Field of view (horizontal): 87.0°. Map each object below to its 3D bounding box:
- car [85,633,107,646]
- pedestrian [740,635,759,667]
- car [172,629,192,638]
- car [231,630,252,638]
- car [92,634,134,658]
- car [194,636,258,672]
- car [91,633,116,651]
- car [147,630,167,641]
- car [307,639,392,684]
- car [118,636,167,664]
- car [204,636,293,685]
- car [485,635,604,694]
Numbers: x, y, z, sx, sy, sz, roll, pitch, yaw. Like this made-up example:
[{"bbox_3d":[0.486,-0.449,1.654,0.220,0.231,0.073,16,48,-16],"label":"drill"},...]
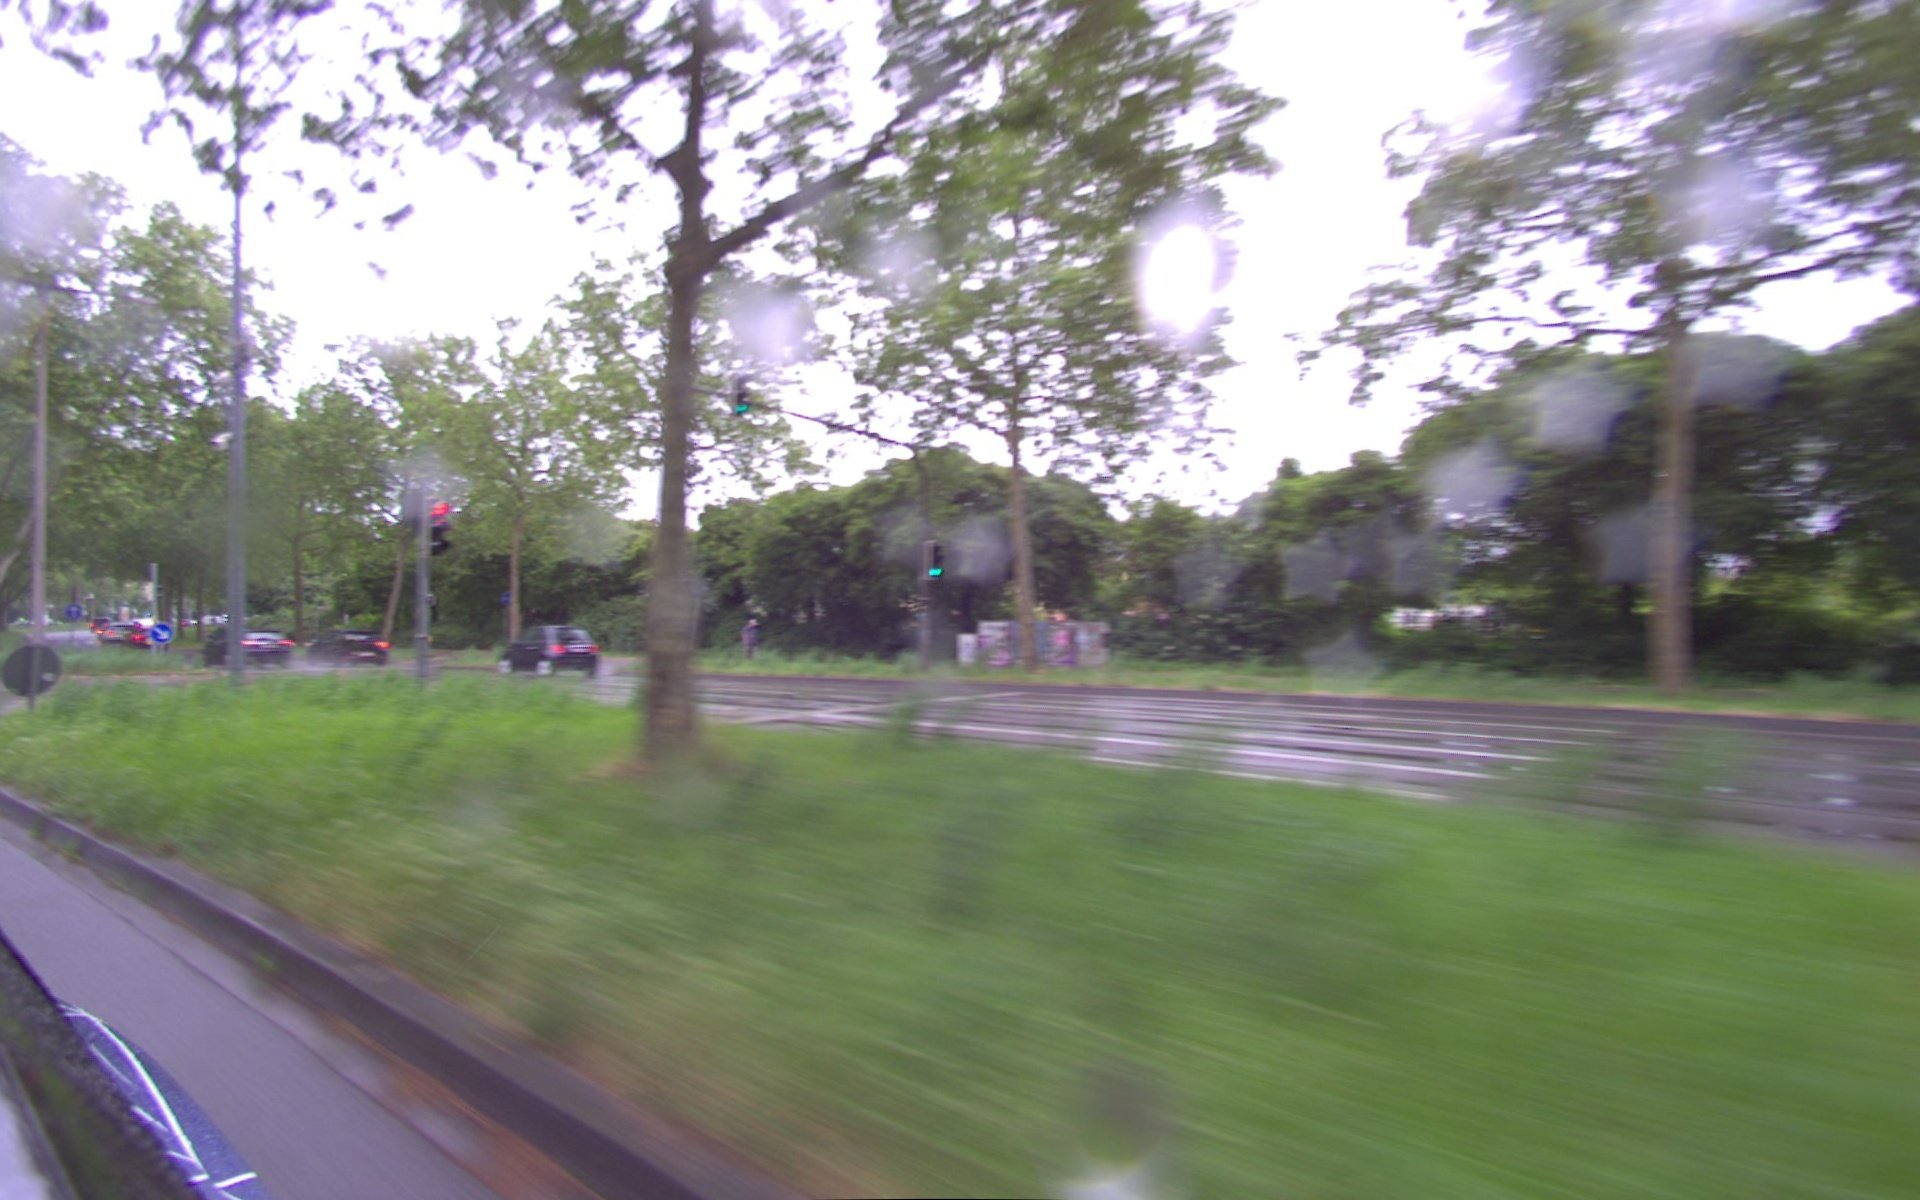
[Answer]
[{"bbox_3d":[-107.473,4.910,125.879,1.756,1.567,4.009,0,-1,-37],"label":"car"},{"bbox_3d":[-7.257,1.750,34.830,0.469,1.048,0.442,1,-2,-44],"label":"pedestrian"},{"bbox_3d":[-133.458,5.752,173.553,1.754,1.567,4.013,0,-1,-24],"label":"car"},{"bbox_3d":[-138.276,6.518,194.893,1.756,1.567,4.008,0,-1,-10],"label":"car"},{"bbox_3d":[-59.635,3.221,71.252,4.000,1.567,1.760,-1,-1,43],"label":"car"},{"bbox_3d":[-35.178,2.564,48.490,4.000,1.567,1.760,-1,-1,43],"label":"car"},{"bbox_3d":[-78.572,3.832,92.818,1.757,1.567,4.006,0,-1,-41],"label":"car"},{"bbox_3d":[-128.785,5.693,162.292,1.754,1.567,4.013,0,-1,-28],"label":"car"},{"bbox_3d":[-23.374,2.308,38.694,4.000,1.567,1.760,-1,-1,43],"label":"car"},{"bbox_3d":[-49.615,2.981,61.369,4.000,1.567,1.760,-1,-1,43],"label":"car"},{"bbox_3d":[-24.910,2.069,35.407,4.000,1.567,1.760,-1,-1,43],"label":"car"},{"bbox_3d":[-12.344,1.857,29.983,4.000,1.567,1.760,-1,-1,43],"label":"car"}]
